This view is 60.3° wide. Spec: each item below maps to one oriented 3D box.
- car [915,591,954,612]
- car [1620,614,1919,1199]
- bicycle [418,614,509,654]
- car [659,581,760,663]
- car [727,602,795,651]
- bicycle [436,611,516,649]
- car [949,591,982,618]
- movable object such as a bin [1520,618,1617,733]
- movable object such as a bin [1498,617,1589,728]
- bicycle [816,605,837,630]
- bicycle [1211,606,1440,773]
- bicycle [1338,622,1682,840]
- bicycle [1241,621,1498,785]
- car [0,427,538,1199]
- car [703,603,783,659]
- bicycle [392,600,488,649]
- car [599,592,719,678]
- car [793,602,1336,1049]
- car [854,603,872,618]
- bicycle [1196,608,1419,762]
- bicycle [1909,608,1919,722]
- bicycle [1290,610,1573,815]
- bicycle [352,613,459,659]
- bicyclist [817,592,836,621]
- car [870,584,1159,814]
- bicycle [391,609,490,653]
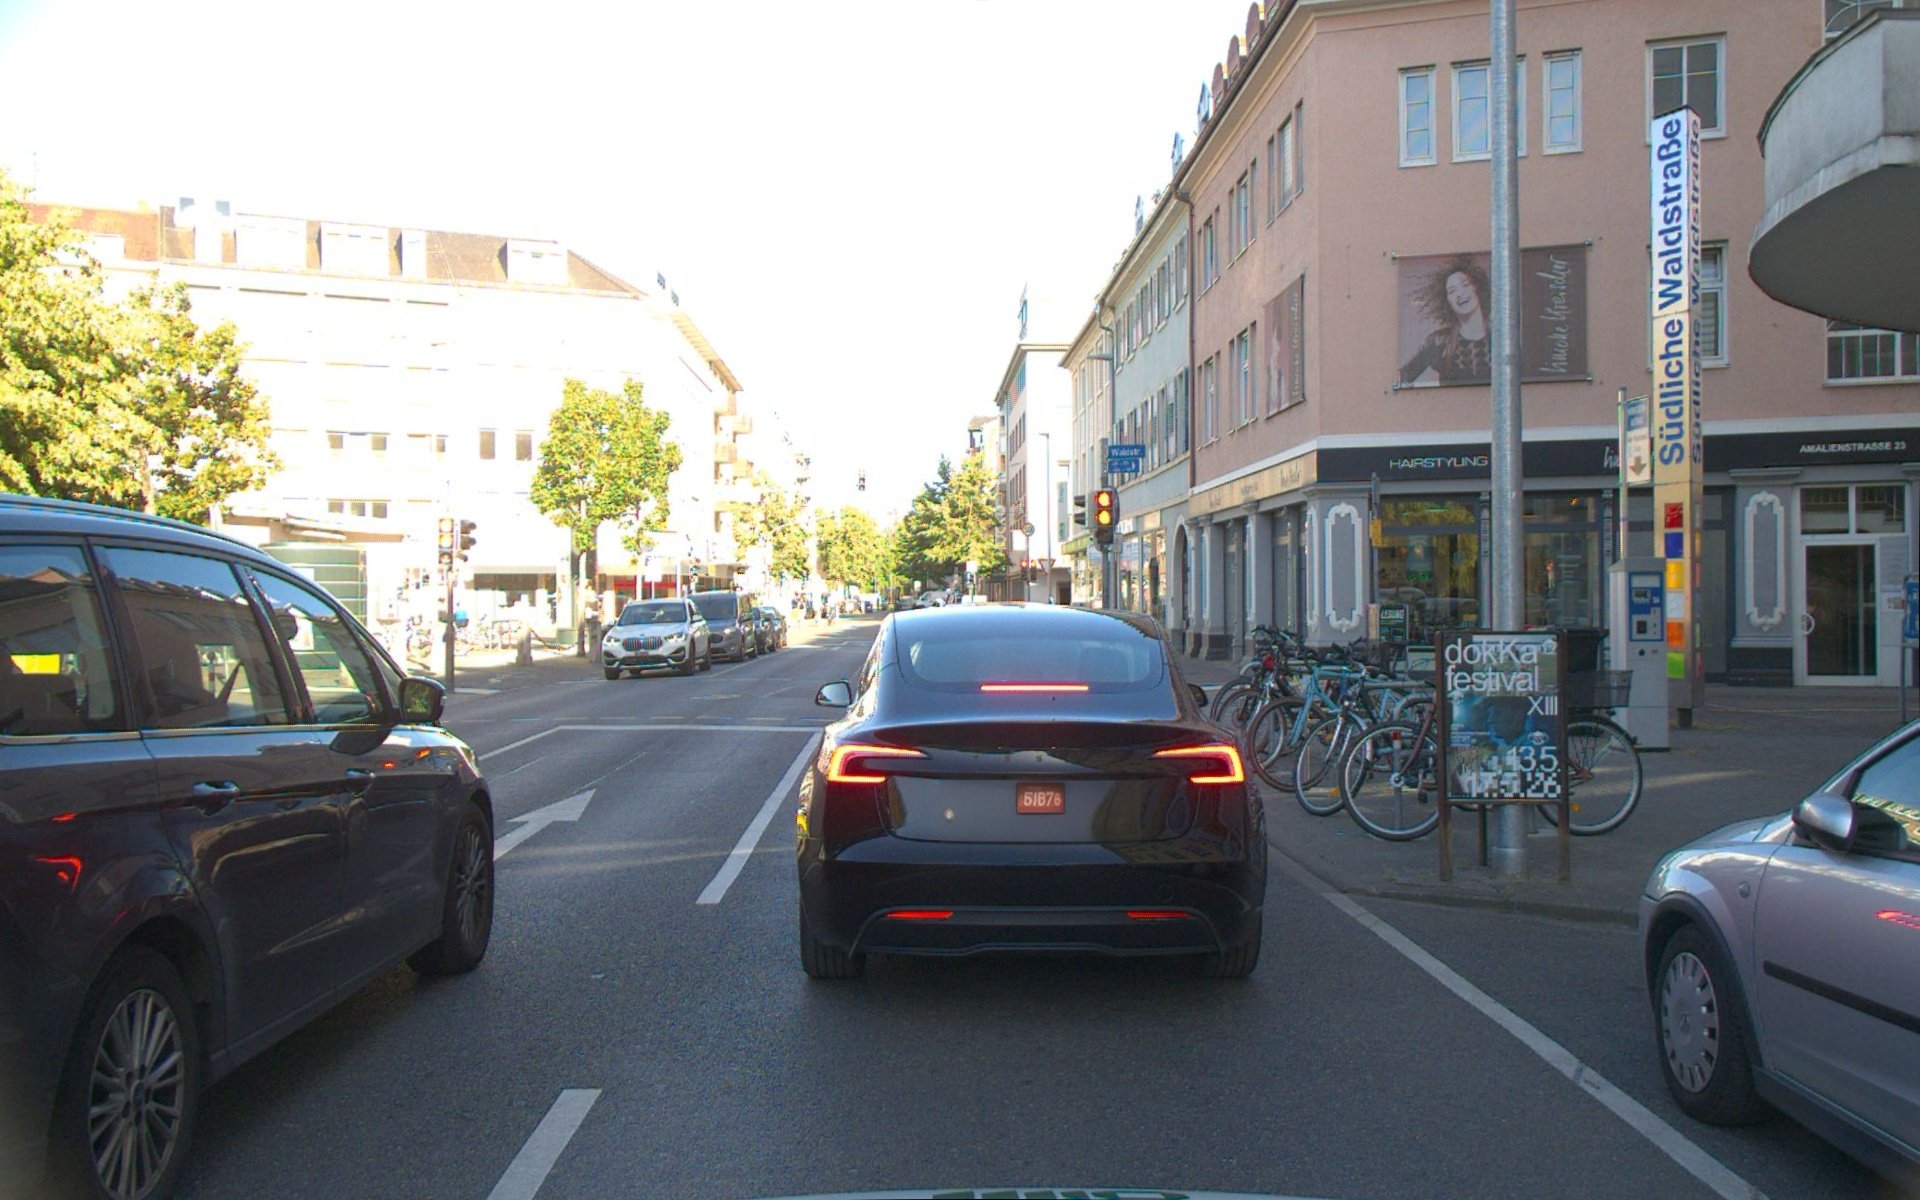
[{"bbox_3d":[-2.566,0.154,167.531,3.907,2.049,1.999,0,0,-2],"label":"car"},{"bbox_3d":[2.940,0.771,3.532,1.580,1.406,3.642,1,0,0],"label":"car"},{"bbox_3d":[-14.882,1.008,49.580,2.485,1.176,0.841,0,0,-6],"label":"bicycle"},{"bbox_3d":[-6.360,0.531,42.517,1.797,1.877,4.674,-4,0,0],"label":"car"},{"bbox_3d":[-6.797,0.866,56.924,1.954,1.461,4.671,-4,0,-3],"label":"car"},{"bbox_3d":[-15.206,0.934,52.003,2.279,1.176,0.841,0,0,-6],"label":"bicycle"},{"bbox_3d":[0.295,0.266,100.725,1.953,1.657,3.999,0,0,-1],"label":"car"},{"bbox_3d":[6.053,0.741,16.480,0.737,1.111,0.627,1,0,1],"label":"movable object such as a bin"},{"bbox_3d":[6.032,0.744,17.117,0.718,1.111,0.627,1,0,1],"label":"movable object such as a bin"},{"bbox_3d":[-7.692,0.993,95.416,1.089,1.368,3.997,0,0,-4],"label":"bicycle"},{"bbox_3d":[2.996,0.724,13.700,1.709,1.289,0.781,-2,0,2],"label":"bicycle"},{"bbox_3d":[3.294,0.777,10.042,1.846,1.214,0.692,-2,1,5],"label":"bicycle"},{"bbox_3d":[3.065,0.764,12.522,1.760,1.144,0.782,-2,0,5],"label":"bicycle"},{"bbox_3d":[-2.794,0.591,4.995,1.953,1.803,4.726,-1,0,-2],"label":"car"},{"bbox_3d":[-6.414,0.878,49.339,1.954,1.434,4.671,-4,0,-3],"label":"car"},{"bbox_3d":[-14.704,0.690,46.825,2.429,1.347,0.921,0,0,-6],"label":"bicycle"},{"bbox_3d":[-6.271,0.683,34.890,1.771,1.582,4.308,-4,0,-2],"label":"car"},{"bbox_3d":[0.323,0.753,7.511,1.810,1.480,3.999,0,0,-1],"label":"car"},{"bbox_3d":[-10.981,1.207,186.907,1.954,1.666,3.997,0,0,-4],"label":"car"},{"bbox_3d":[3.061,0.741,14.732,1.822,1.280,0.833,-2,0,5],"label":"bicycle"},{"bbox_3d":[10.367,0.695,16.965,0.645,1.220,2.212,0,0,18],"label":"bicycle"},{"bbox_3d":[3.148,0.742,11.172,1.686,1.290,0.791,-2,0,5],"label":"bicycle"},{"bbox_3d":[-14.183,0.916,42.369,2.455,1.176,0.842,0,0,-2],"label":"bicycle"},{"bbox_3d":[-7.708,0.366,95.509,1.104,1.657,0.964,0,0,-4],"label":"bicyclist"},{"bbox_3d":[0.296,0.661,13.221,1.953,1.538,4.173,0,0,-2],"label":"car"},{"bbox_3d":[-14.096,0.835,44.903,2.412,1.176,0.842,0,0,-2],"label":"bicycle"}]
